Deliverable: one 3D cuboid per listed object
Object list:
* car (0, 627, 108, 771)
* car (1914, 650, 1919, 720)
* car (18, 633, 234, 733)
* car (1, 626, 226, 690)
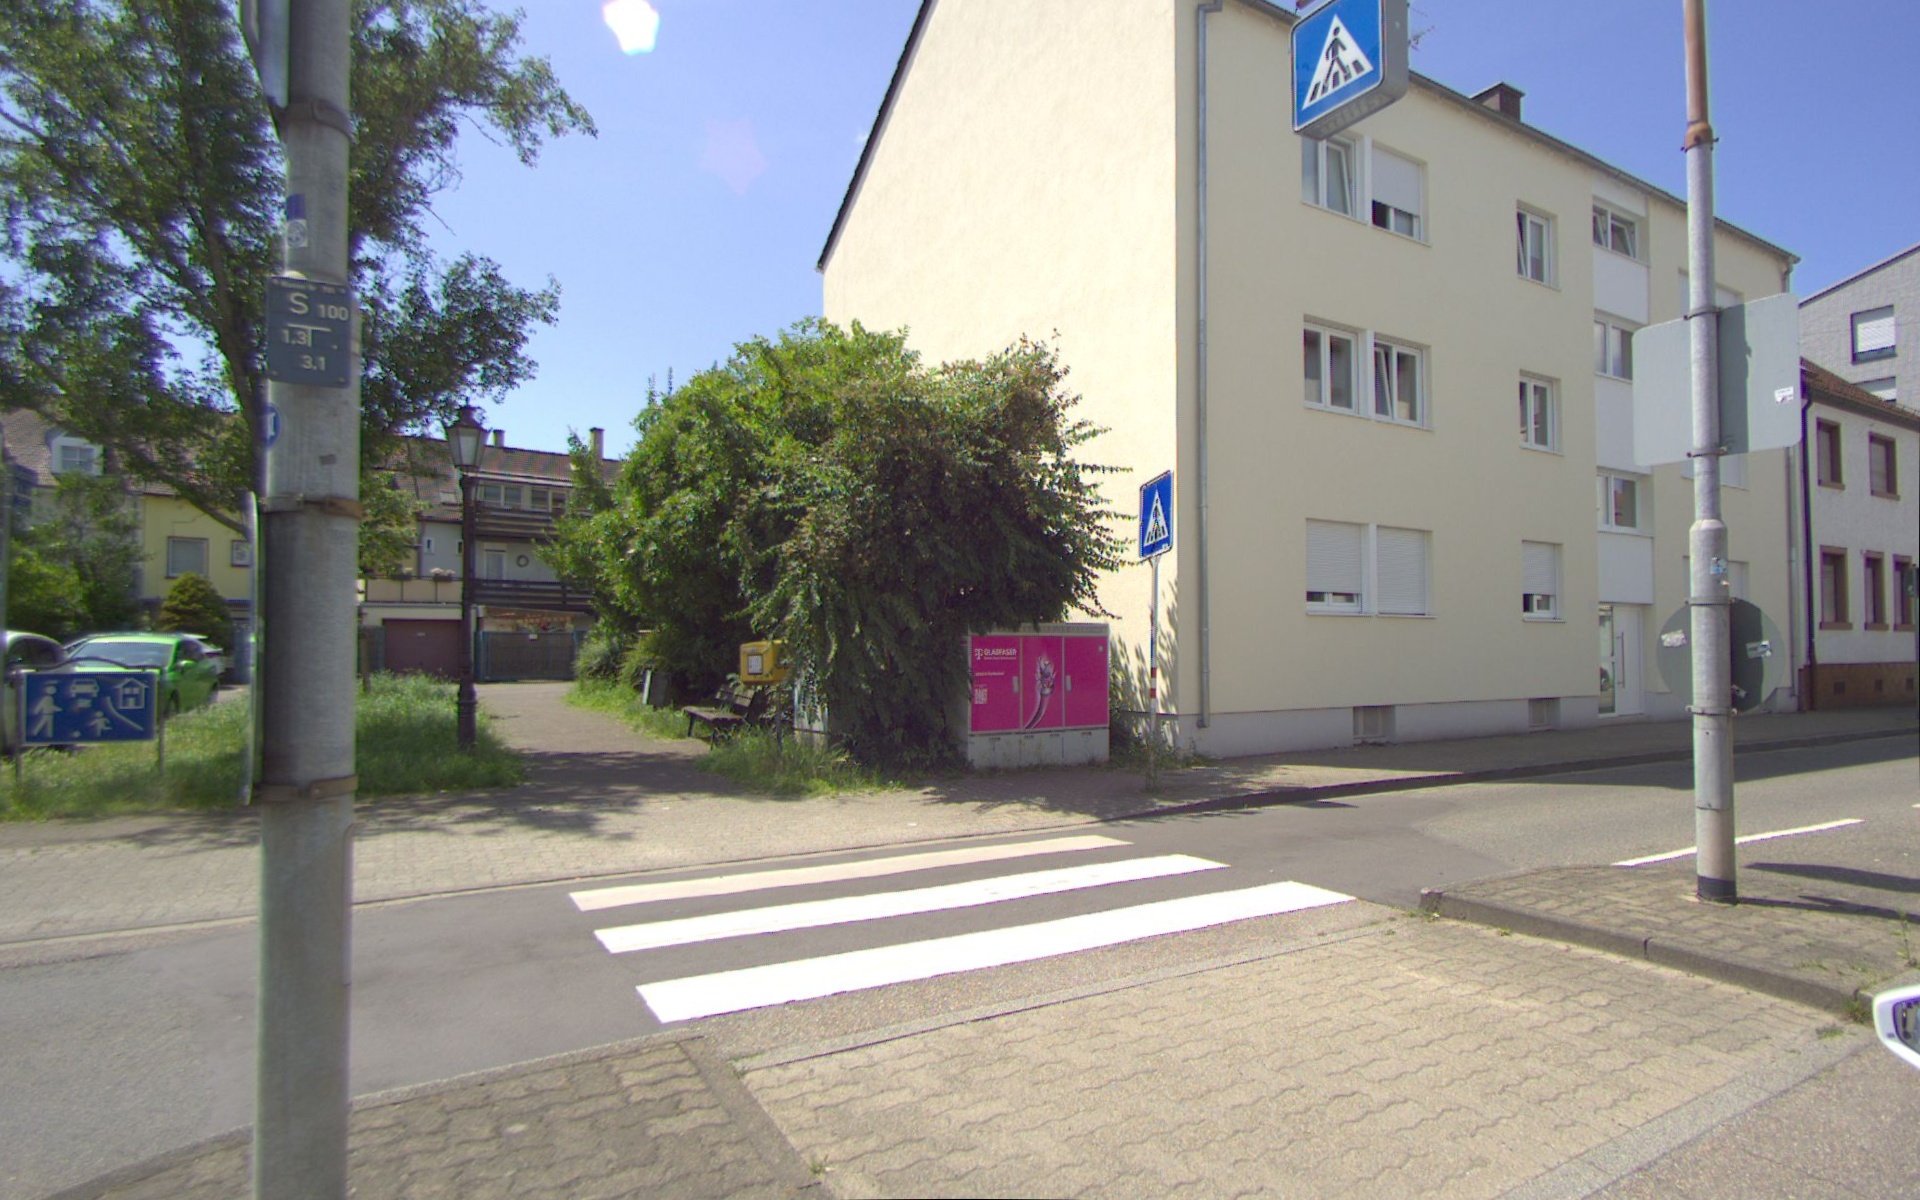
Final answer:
[{"bbox_3d":[-11.657,1.077,11.570,1.844,1.522,3.974,1,-2,-26],"label":"car"},{"bbox_3d":[21.879,1.768,20.865,4.238,1.435,1.826,2,-3,-30],"label":"car"},{"bbox_3d":[-13.445,1.285,16.479,1.780,1.416,3.975,1,-3,-26],"label":"car"},{"bbox_3d":[-21.359,1.434,25.599,4.247,1.474,1.654,2,-1,-37],"label":"car"}]
